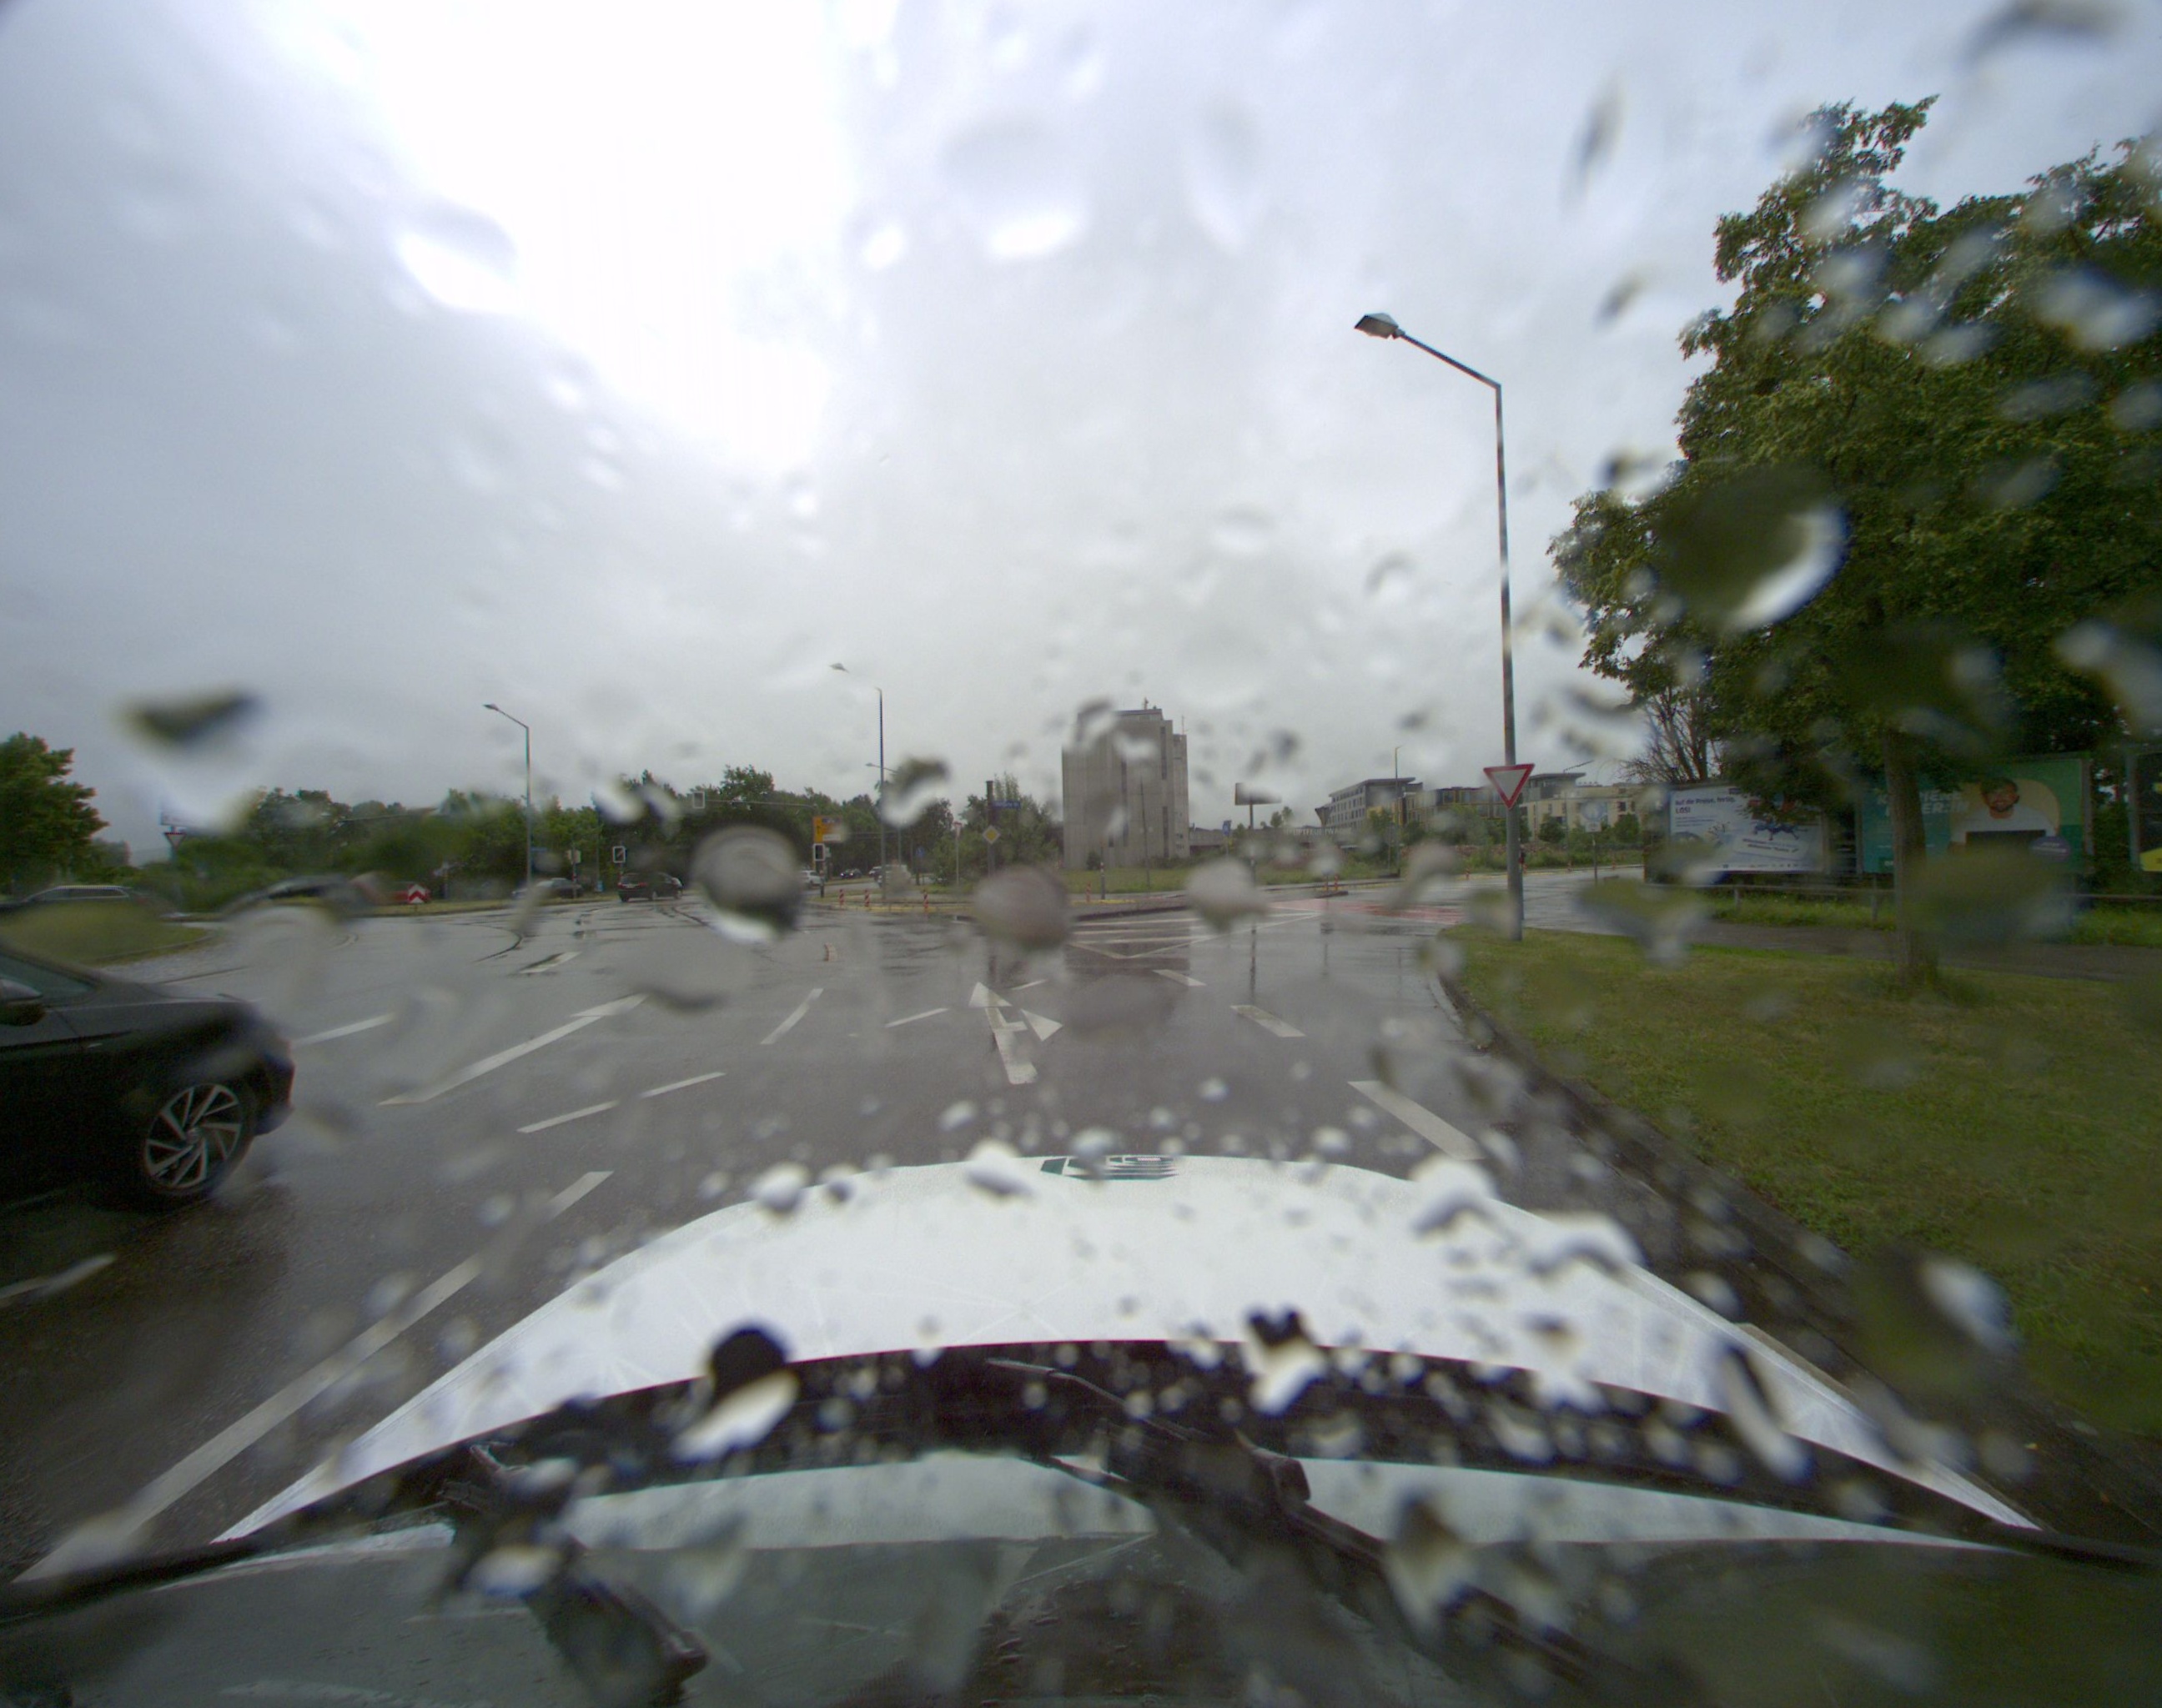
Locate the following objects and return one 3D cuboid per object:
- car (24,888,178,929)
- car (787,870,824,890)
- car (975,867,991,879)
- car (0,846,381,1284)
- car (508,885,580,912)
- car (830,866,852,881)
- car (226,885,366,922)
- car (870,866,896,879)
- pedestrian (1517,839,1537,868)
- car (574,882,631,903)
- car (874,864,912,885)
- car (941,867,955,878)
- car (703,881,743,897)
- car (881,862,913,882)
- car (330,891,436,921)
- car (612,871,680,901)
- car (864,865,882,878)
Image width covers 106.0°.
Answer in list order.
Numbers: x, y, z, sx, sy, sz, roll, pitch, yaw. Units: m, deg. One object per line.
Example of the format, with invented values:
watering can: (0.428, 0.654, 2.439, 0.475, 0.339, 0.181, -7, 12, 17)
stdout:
car: (-42.690, 2.329, 35.605, 1.766, 1.648, 4.173, -2, -3, 40)
car: (-23.578, 2.254, 69.844, 1.674, 1.648, 3.948, 0, -2, 2)
car: (-13.667, 2.653, 113.867, 1.682, 1.492, 3.253, -1, 0, 3)
car: (-4.608, 0.742, 2.270, 1.780, 1.517, 4.325, -1, 0, -4)
car: (-35.635, 2.931, 54.195, 1.777, 1.648, 4.392, 0, -2, 0)
car: (-33.792, 2.729, 114.719, 1.781, 2.014, 3.674, 0, -2, 2)
car: (-36.903, 2.286, 38.425, 1.766, 1.648, 4.421, -1, -2, 32)
car: (-22.211, 2.083, 91.338, 1.679, 1.492, 3.258, 0, -2, 9)
pedestrian: (32.449, -0.021, 59.269, 1.136, 2.014, 0.839, 2, -3, -35)
car: (-39.669, 3.191, 67.604, 1.774, 1.648, 4.394, 0, -2, 6)
car: (-17.223, 1.886, 74.815, 1.774, 1.810, 4.846, -2, -1, 6)
car: (-18.924, 2.660, 115.930, 1.685, 1.492, 3.246, -1, 0, -4)
car: (-36.327, 3.543, 82.812, 1.772, 1.648, 4.010, 0, -2, 10)
car: (-19.232, 1.863, 85.260, 1.772, 2.036, 4.011, 0, -2, 10)
car: (-40.932, 3.016, 47.902, 1.769, 1.648, 4.412, 0, -2, 17)
car: (-24.972, 1.842, 46.900, 1.779, 1.648, 3.996, 0, -2, -2)
car: (-32.427, 2.803, 127.004, 1.781, 2.014, 3.674, 0, -2, 2)
